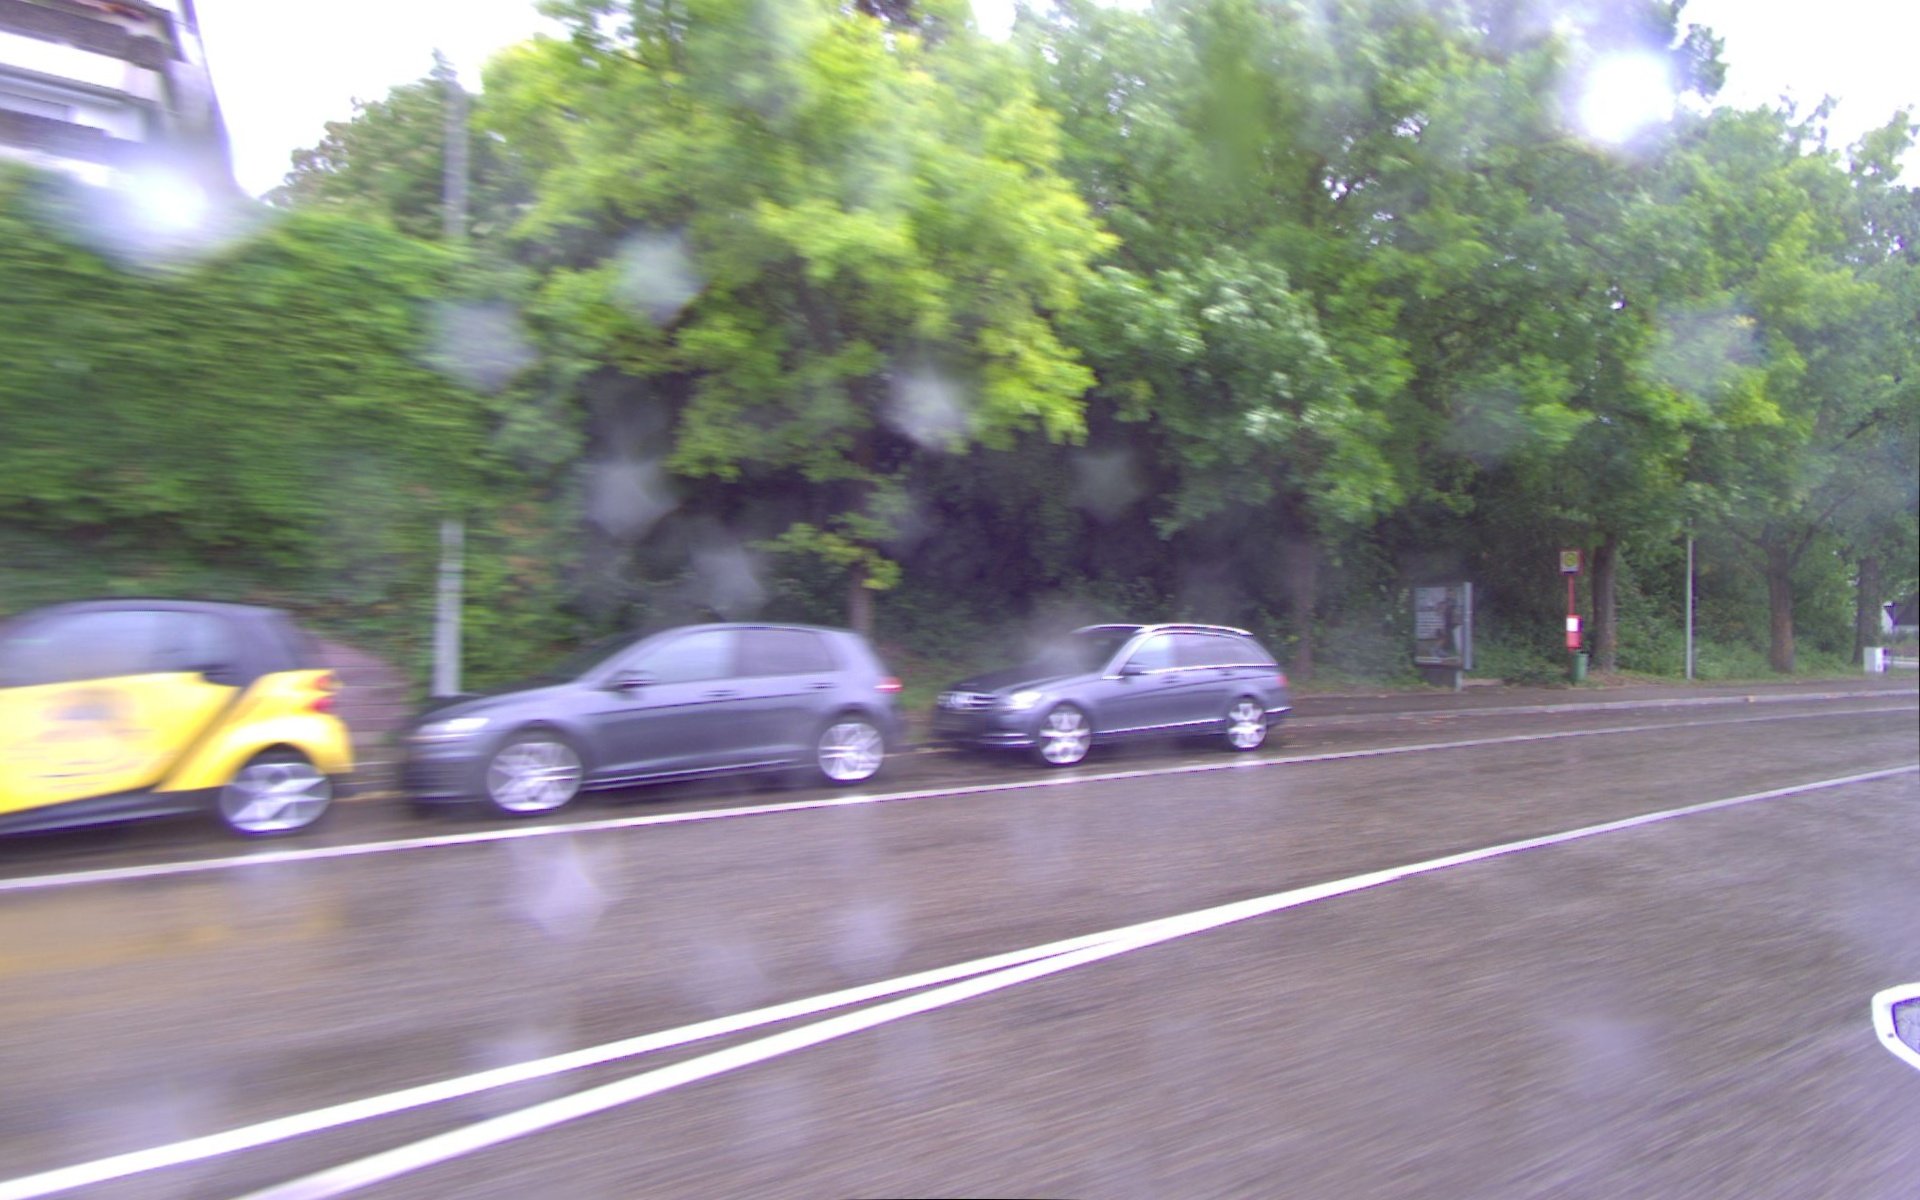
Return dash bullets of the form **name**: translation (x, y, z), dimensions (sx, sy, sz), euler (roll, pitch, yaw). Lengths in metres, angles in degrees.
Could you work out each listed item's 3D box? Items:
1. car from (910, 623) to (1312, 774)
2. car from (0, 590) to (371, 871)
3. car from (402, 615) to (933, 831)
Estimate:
- **car**: translation (1.860, 1.018, 11.548), dimensions (4.691, 1.438, 1.677), euler (2, -2, -34)
- **car**: translation (-5.472, 0.749, 6.370), dimensions (2.797, 1.557, 1.421), euler (2, -2, -40)
- **car**: translation (-2.299, 0.890, 8.479), dimensions (4.065, 1.438, 1.423), euler (2, -2, -36)
